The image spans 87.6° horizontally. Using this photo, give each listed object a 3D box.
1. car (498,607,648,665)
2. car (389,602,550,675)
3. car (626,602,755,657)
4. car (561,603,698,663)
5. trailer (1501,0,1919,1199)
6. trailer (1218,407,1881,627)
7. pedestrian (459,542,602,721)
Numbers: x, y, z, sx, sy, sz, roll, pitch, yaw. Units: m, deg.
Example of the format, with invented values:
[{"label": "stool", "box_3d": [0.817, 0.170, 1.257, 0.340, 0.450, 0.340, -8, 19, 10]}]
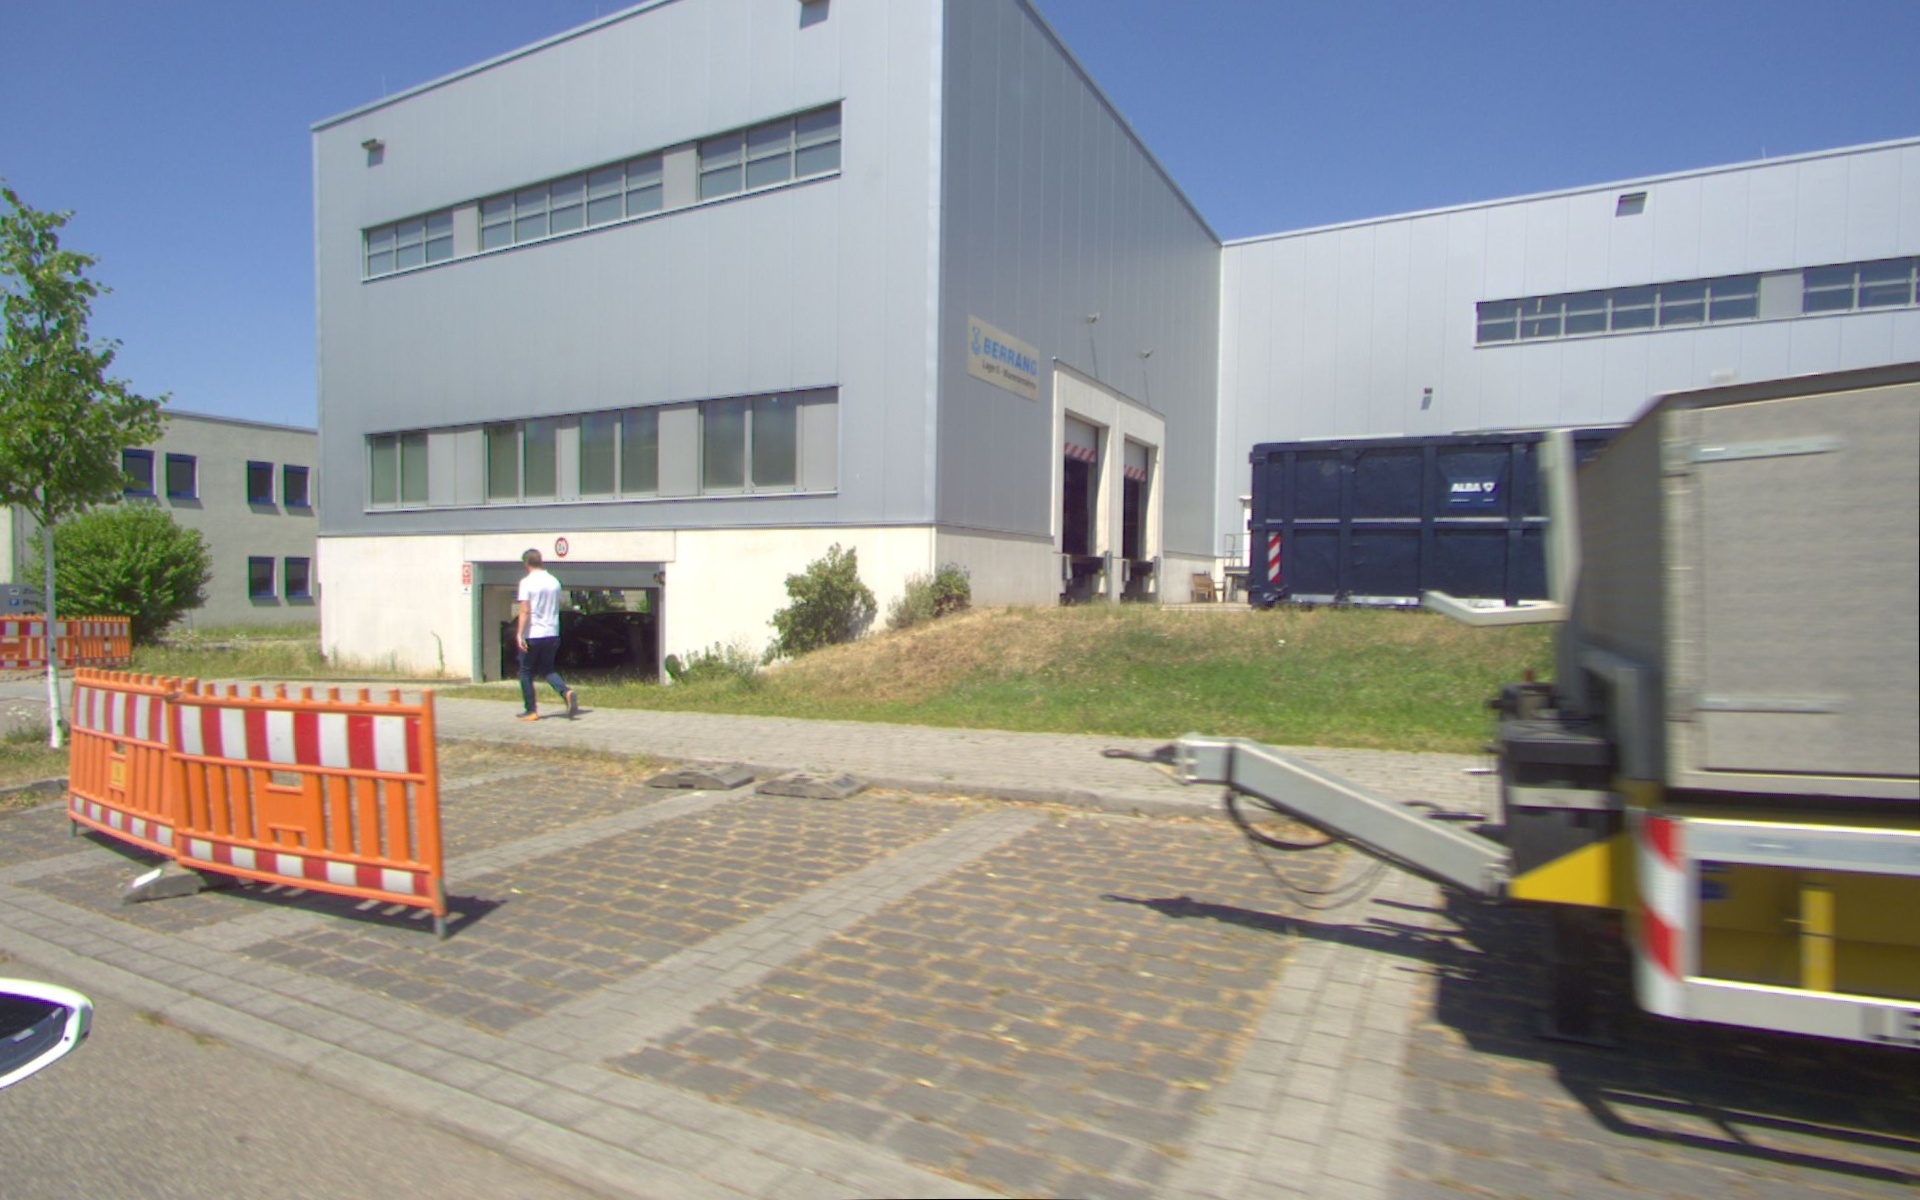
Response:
[{"label": "car", "box_3d": [-10.731, 0.983, 27.723, 3.942, 1.496, 1.879, -1, -1, 32]}, {"label": "car", "box_3d": [-12.332, 0.903, 25.119, 3.940, 1.473, 1.822, 4, 3, 32]}, {"label": "car", "box_3d": [-8.810, 0.919, 32.665, 3.940, 1.473, 1.878, 4, 3, 32]}, {"label": "car", "box_3d": [-10.106, 0.958, 30.544, 3.940, 1.473, 1.878, 4, 3, 32]}, {"label": "trailer", "box_3d": [4.512, -0.064, 2.459, 5.430, 2.896, 2.655, 0, 2, 25]}, {"label": "trailer", "box_3d": [7.696, -1.098, 14.184, 7.300, 2.453, 2.656, 4, 1, 30]}, {"label": "pedestrian", "box_3d": [-4.823, 0.330, 11.290, 1.192, 1.914, 0.864, 1, 1, 13]}]
